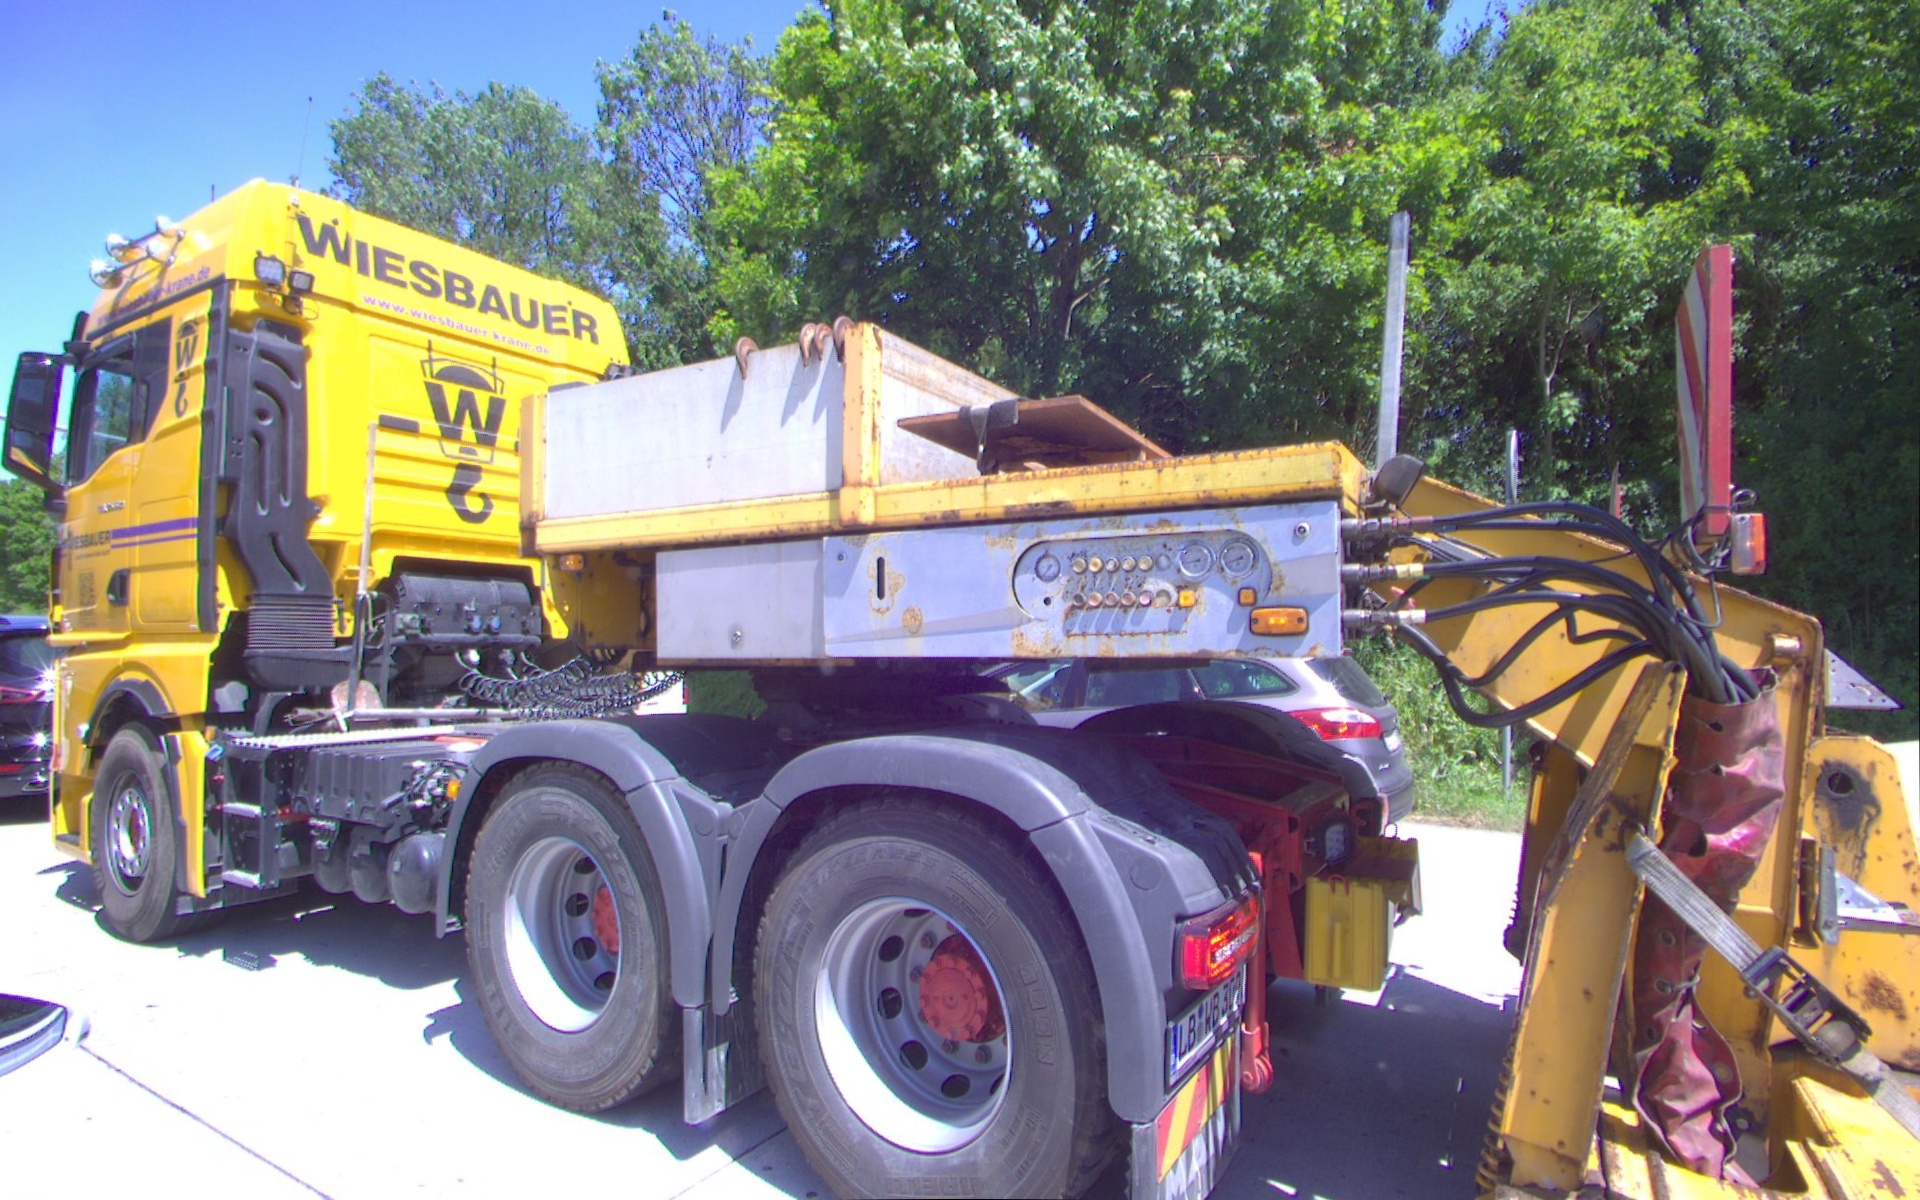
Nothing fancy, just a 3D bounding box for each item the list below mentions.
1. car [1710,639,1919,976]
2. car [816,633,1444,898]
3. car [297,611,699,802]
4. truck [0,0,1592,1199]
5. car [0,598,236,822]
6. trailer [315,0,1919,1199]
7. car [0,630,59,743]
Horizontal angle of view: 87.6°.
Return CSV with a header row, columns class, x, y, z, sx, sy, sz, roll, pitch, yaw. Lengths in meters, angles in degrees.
class,x,y,z,sx,sy,sz,roll,pitch,yaw
car,6.193,0.920,4.311,4.530,1.481,1.766,-1,-2,30
car,1.159,0.995,7.475,4.300,1.481,1.765,-1,-2,31
car,-5.393,1.095,11.534,4.720,1.830,1.766,-1,-2,29
truck,-1.409,-0.311,4.777,7.361,3.821,3.010,-1,-2,31
car,-8.676,0.887,9.264,4.584,1.660,1.779,-1,-2,35
trailer,5.407,0.196,0.626,16.117,2.626,3.023,-1,-2,31
car,-14.204,1.139,13.751,4.548,1.428,1.763,-2,-2,35
